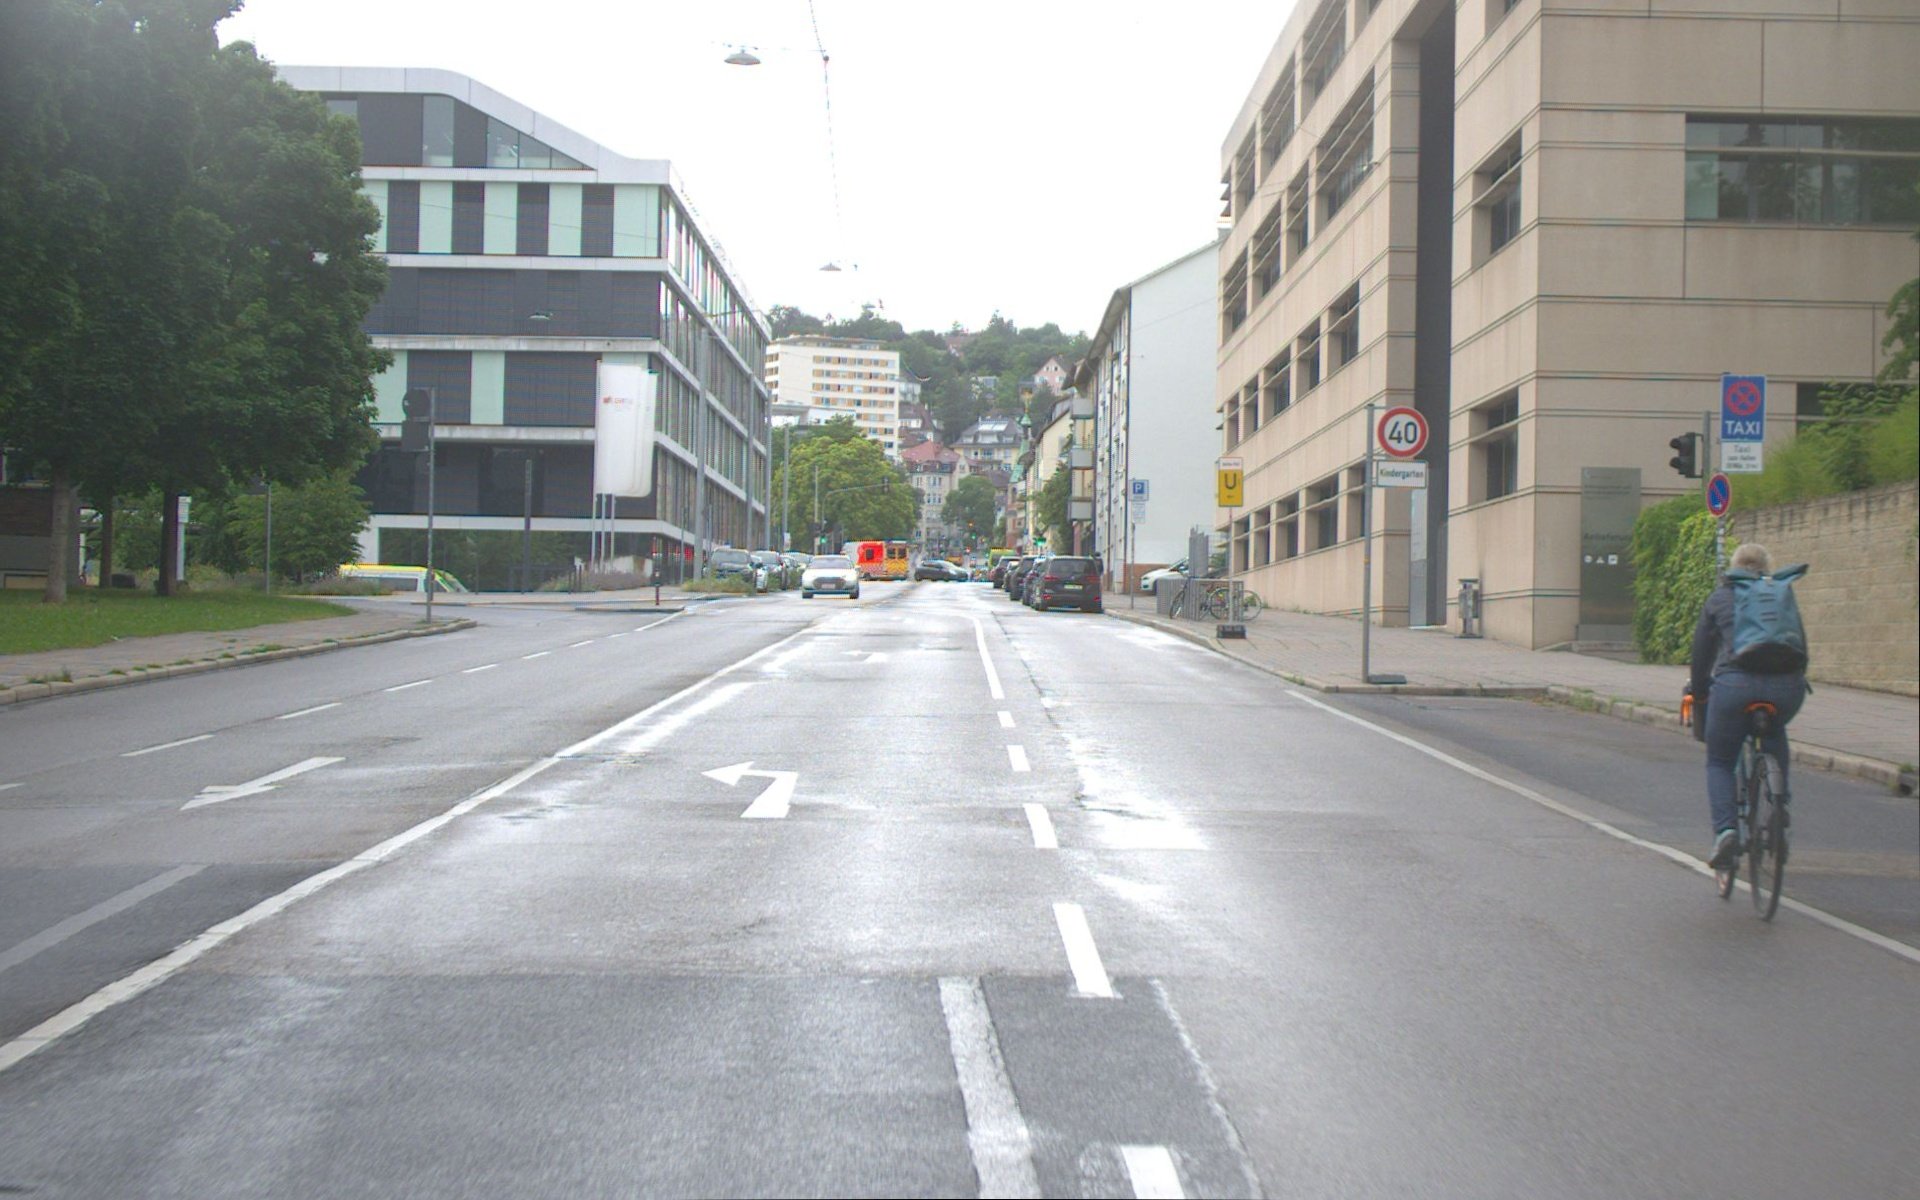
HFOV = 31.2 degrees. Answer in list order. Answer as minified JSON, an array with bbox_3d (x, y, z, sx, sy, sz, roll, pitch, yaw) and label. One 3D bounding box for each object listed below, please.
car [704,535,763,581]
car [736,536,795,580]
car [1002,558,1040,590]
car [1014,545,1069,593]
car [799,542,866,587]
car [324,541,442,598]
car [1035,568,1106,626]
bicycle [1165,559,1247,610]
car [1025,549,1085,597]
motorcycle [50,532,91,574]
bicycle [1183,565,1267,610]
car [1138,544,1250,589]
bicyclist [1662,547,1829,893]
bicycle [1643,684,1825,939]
[{"bbox_3d":[-8.437,-1.555,128.327,1.849,1.612,4.491,2,0,0],"label":"car"},{"bbox_3d":[-8.178,-1.753,145.173,1.963,1.744,4.941,2,0,2],"label":"car"},{"bbox_3d":[2.978,-1.274,167.121,1.706,1.449,3.985,2,0,0],"label":"car"},{"bbox_3d":[3.140,-1.183,132.841,1.935,1.744,4.797,2,0,0],"label":"car"},{"bbox_3d":[-4.411,-1.249,119.557,1.882,1.486,5.219,-1,1,2],"label":"car"},{"bbox_3d":[-23.608,-1.248,140.738,4.589,2.167,1.932,2,0,-6],"label":"car"},{"bbox_3d":[3.195,-0.097,100.235,1.771,1.598,4.395,2,0,-1],"label":"car"},{"bbox_3d":[5.530,-0.355,77.397,1.729,1.115,0.660,1,0,-5],"label":"bicycle"},{"bbox_3d":[3.208,-0.909,116.504,1.743,1.528,4.320,2,0,-1],"label":"car"},{"bbox_3d":[-23.892,-1.258,92.346,1.169,1.121,0.412,0,-1,38],"label":"motorcycle"},{"bbox_3d":[5.884,-0.278,76.416,1.758,0.950,0.660,1,0,-3],"label":"bicycle"},{"bbox_3d":[9.634,-1.374,141.600,4.438,1.707,1.905,-1,0,0],"label":"car"},{"bbox_3d":[3.381,0.500,14.847,0.484,1.428,0.930,2,0,2],"label":"bicyclist"},{"bbox_3d":[3.355,0.892,15.003,0.447,0.960,1.690,2,1,2],"label":"bicycle"}]
